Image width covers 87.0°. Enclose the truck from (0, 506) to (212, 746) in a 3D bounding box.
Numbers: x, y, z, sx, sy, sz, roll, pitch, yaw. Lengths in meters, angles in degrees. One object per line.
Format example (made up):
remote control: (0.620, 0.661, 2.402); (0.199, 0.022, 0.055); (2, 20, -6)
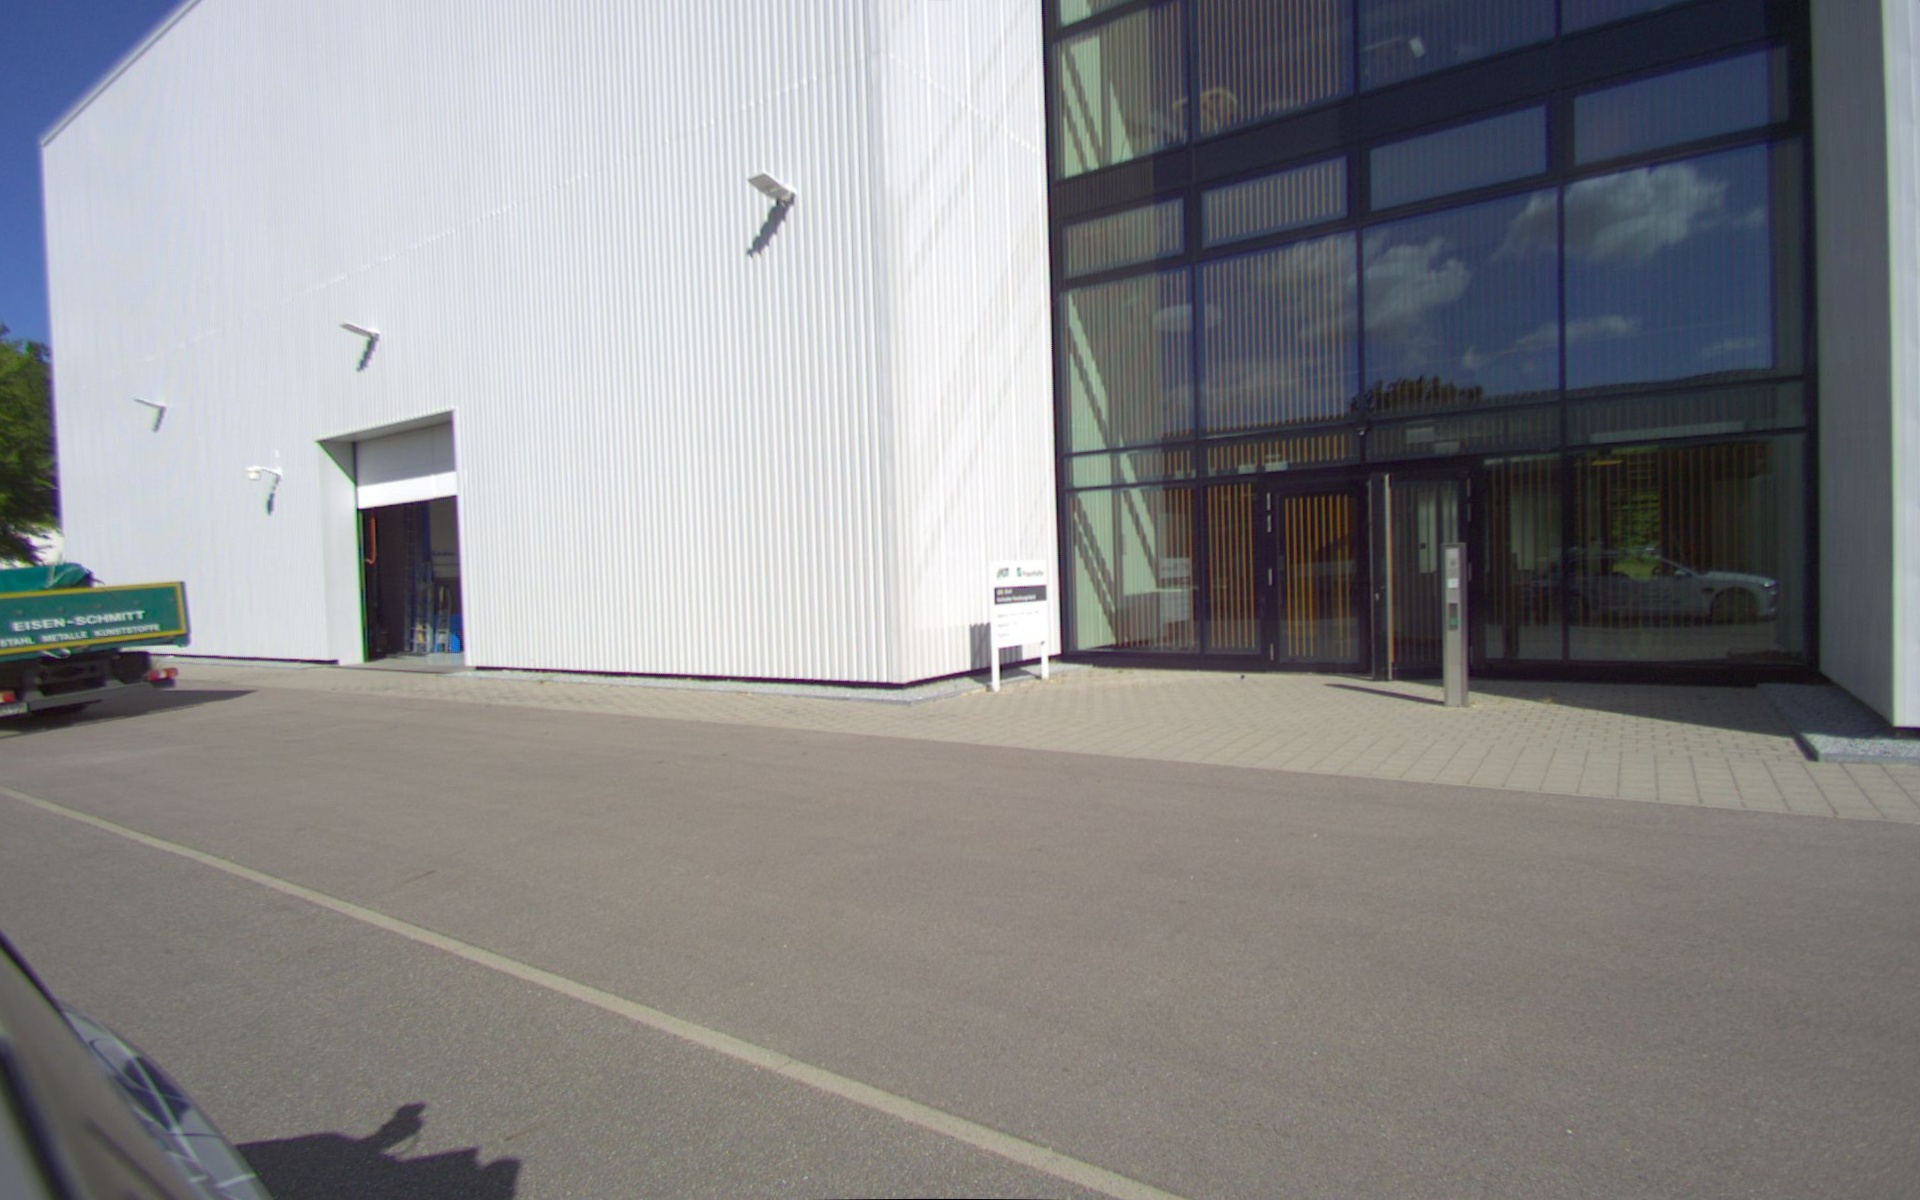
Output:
truck: (-15.115, 0.383, 14.276); (9.629, 2.736, 2.571); (-2, 3, 22)
